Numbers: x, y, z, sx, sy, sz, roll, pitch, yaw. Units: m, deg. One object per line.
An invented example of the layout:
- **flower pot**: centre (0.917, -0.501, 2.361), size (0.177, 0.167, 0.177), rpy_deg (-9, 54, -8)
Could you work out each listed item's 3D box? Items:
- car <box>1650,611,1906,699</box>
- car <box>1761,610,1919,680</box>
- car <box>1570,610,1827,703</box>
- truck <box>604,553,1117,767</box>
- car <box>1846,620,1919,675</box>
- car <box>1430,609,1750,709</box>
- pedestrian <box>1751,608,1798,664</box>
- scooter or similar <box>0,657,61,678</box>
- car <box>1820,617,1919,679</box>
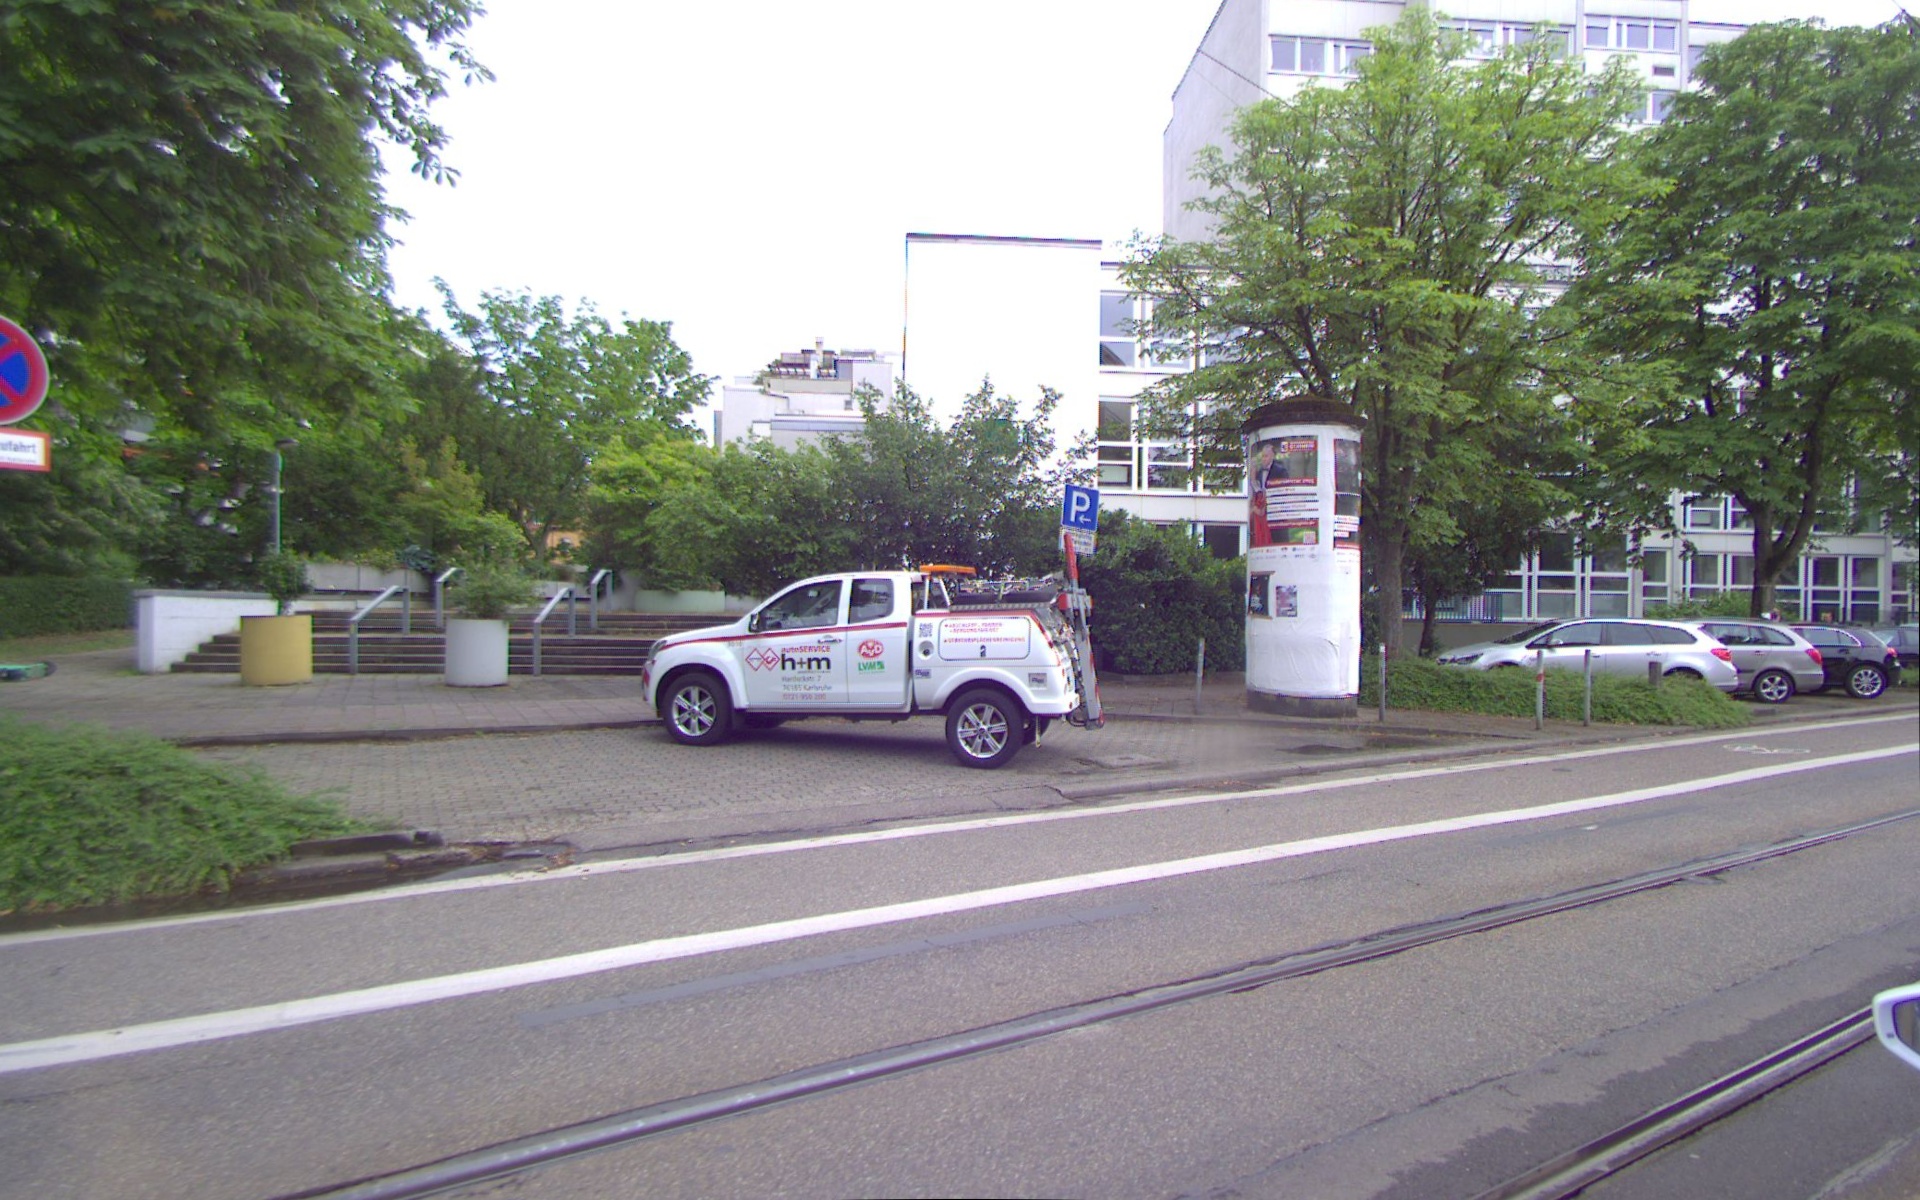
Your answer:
- **car**: centre (16.524, 1.063, 20.495), size (3.631, 1.544, 1.700), rpy_deg (2, 1, 16)
- **car**: centre (21.999, 1.077, 24.350), size (3.631, 1.544, 1.700), rpy_deg (2, 1, 16)
- **car**: centre (13.890, 1.018, 19.112), size (3.578, 1.544, 1.573), rpy_deg (2, 1, 16)
- **truck**: centre (-0.973, 0.509, 10.569), size (4.962, 1.873, 2.001), rpy_deg (1, 0, 15)
- **car**: centre (27.214, 1.350, 27.557), size (3.950, 1.424, 1.699), rpy_deg (2, 1, 22)
- **car**: centre (10.811, 0.970, 17.563), size (4.342, 1.484, 1.805), rpy_deg (2, 0, 10)
- **pedestrian**: centre (24.801, 1.078, 30.606), size (0.720, 1.633, 0.754), rpy_deg (3, 1, -6)
- **scooter or similar**: centre (-13.800, 0.998, 14.913), size (0.293, 0.174, 1.214), rpy_deg (3, 2, -23)
- **car**: centre (25.031, 1.264, 25.910), size (3.950, 1.504, 1.699), rpy_deg (2, 1, 22)
